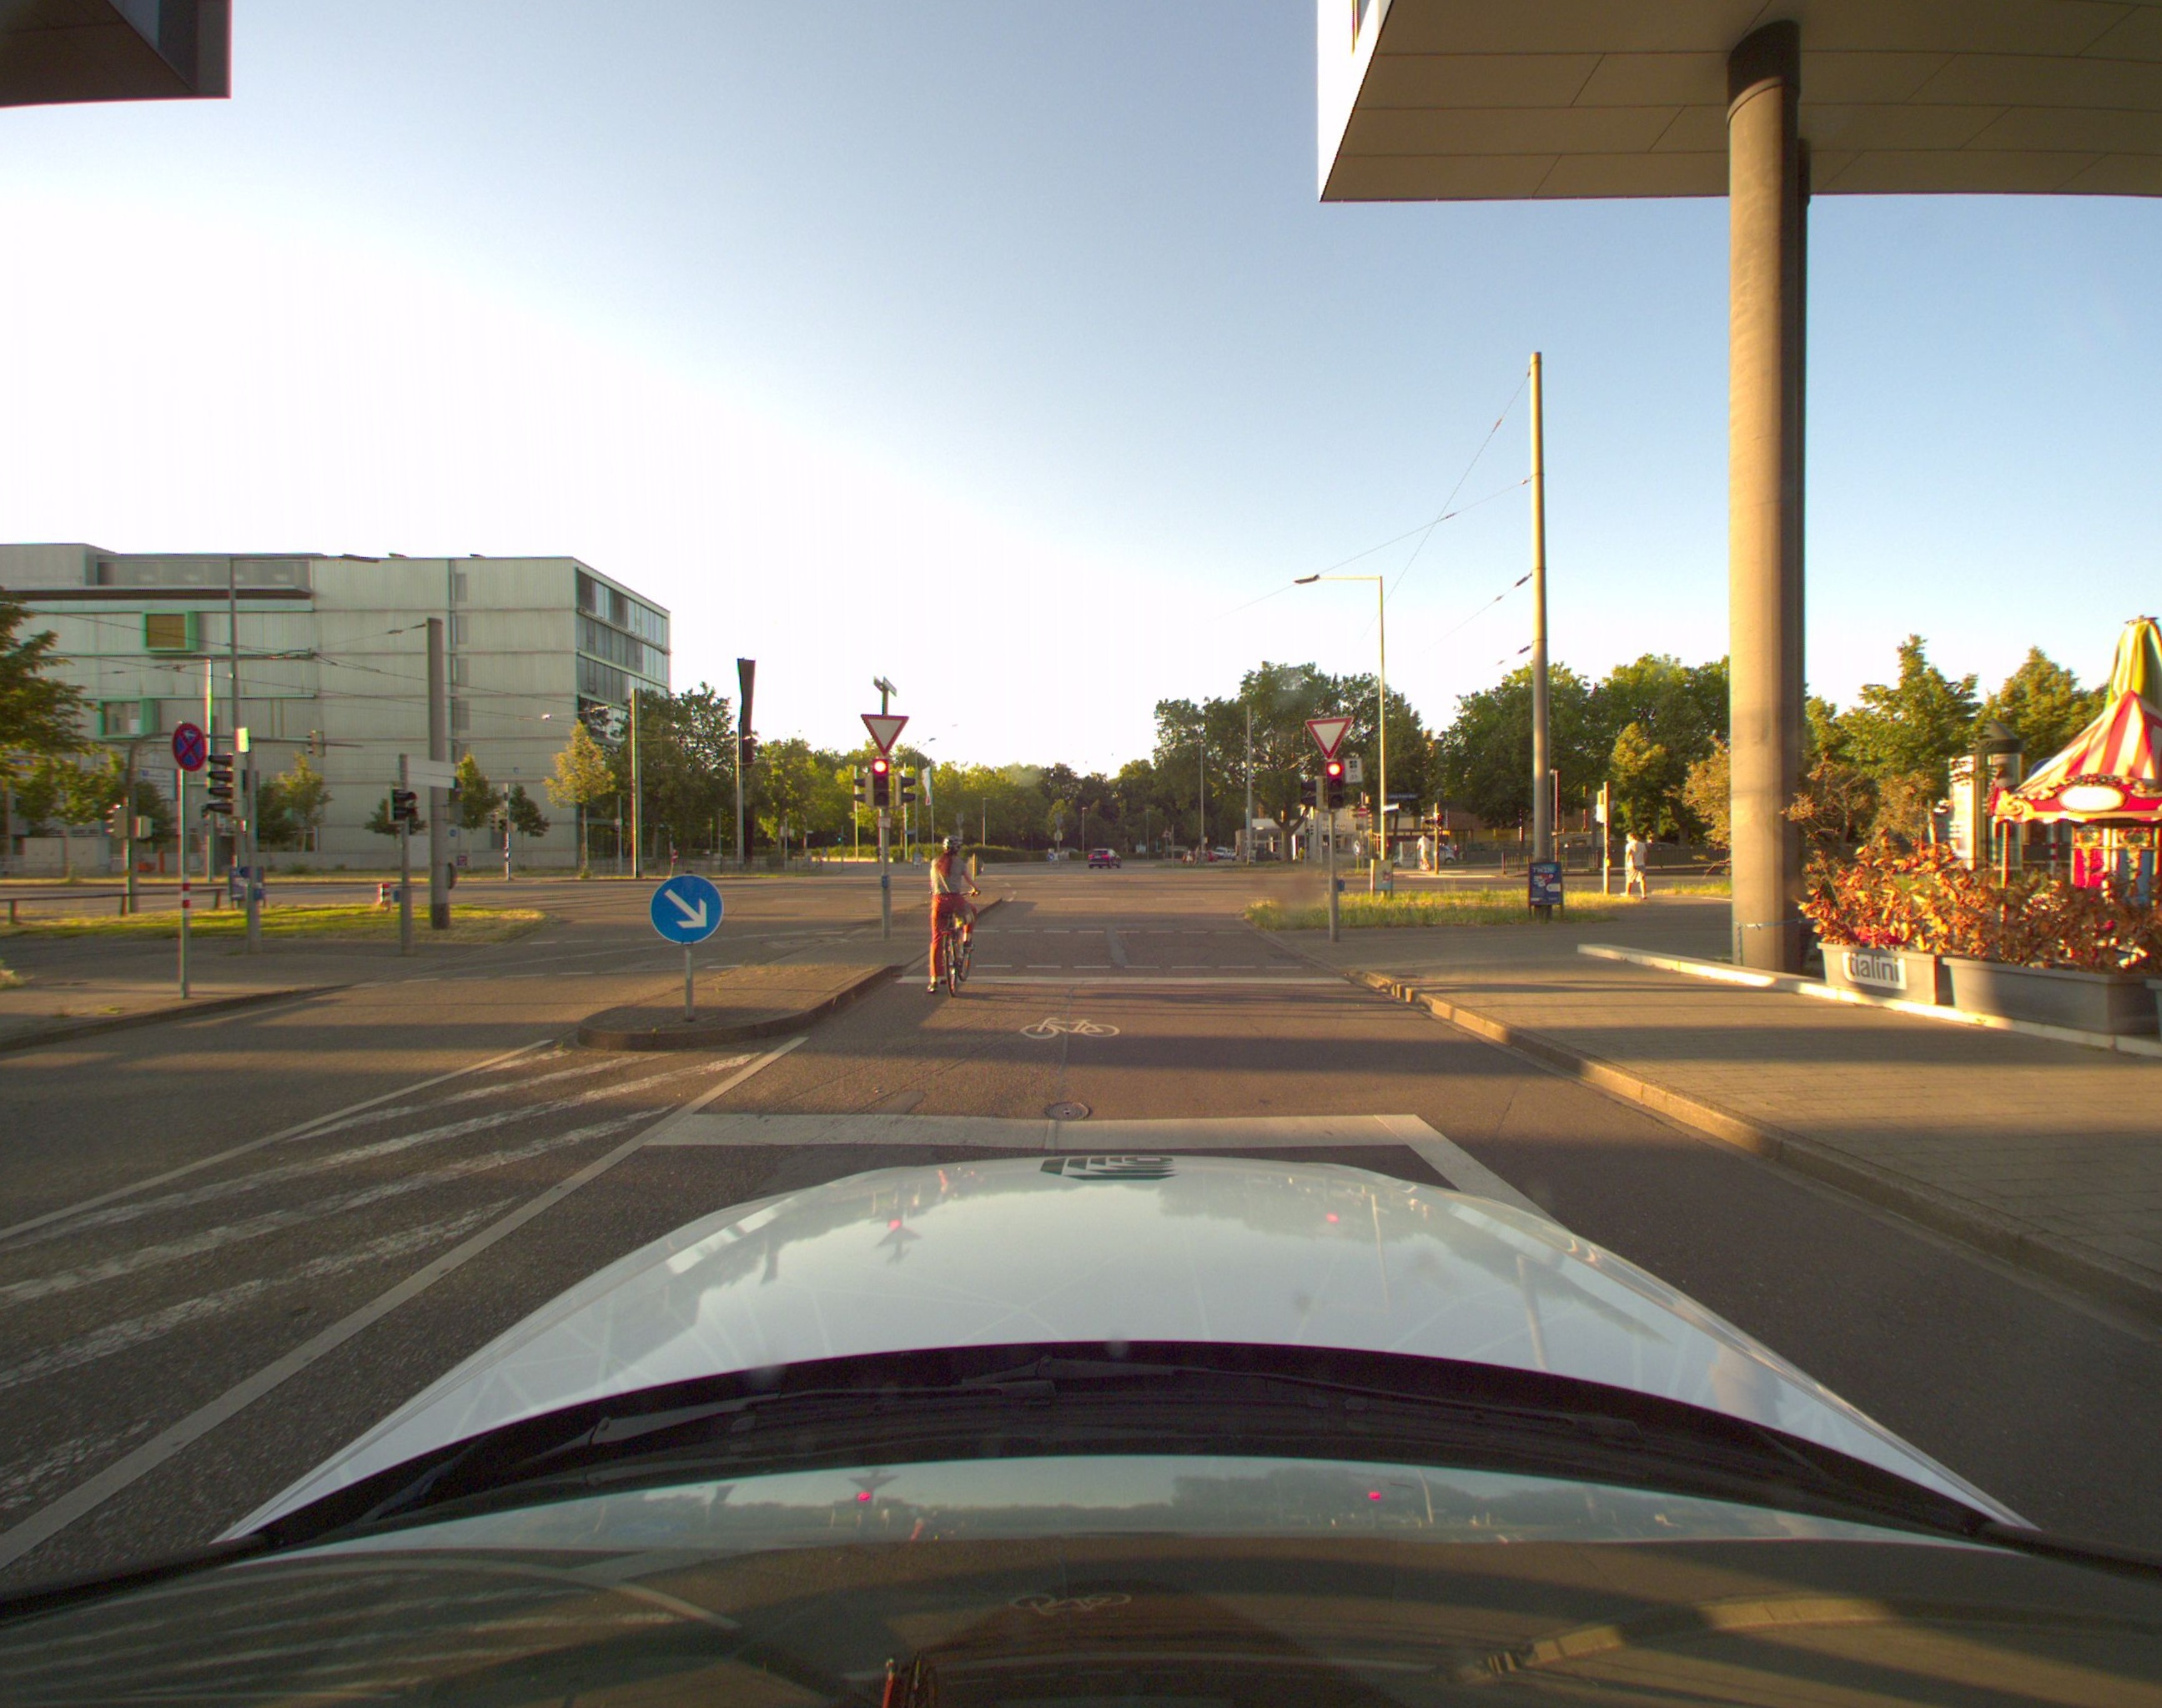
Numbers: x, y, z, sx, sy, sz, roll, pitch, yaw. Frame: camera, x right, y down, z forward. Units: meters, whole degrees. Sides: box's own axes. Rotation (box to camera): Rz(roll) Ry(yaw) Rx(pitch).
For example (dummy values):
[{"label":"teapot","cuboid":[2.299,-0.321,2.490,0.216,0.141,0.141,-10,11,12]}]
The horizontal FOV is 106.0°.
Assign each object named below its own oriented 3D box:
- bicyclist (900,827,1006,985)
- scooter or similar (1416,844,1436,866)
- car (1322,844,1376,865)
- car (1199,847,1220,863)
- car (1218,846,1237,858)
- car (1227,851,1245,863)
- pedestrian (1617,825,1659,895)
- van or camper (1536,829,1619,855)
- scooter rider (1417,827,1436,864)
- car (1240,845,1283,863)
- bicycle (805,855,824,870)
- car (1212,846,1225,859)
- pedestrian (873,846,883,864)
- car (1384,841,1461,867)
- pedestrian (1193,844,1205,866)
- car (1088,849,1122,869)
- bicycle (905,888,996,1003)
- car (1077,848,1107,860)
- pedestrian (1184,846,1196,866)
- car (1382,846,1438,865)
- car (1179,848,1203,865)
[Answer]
[{"label":"bicyclist","cuboid":[-1.452,0.570,9.425,1.028,1.717,0.996,-1,0,1]},{"label":"scooter or similar","cuboid":[17.200,0.061,40.642,0.508,1.090,1.243,-1,0,2]},{"label":"car","cuboid":[23.669,0.040,72.106,4.211,1.846,2.002,-1,0,4]},{"label":"car","cuboid":[16.267,0.093,103.125,1.899,2.047,4.020,0,0,20]},{"label":"car","cuboid":[24.420,-0.301,135.416,1.975,2.013,4.024,-1,0,27]},{"label":"car","cuboid":[21.926,0.390,115.109,1.899,1.602,4.020,0,0,20]},{"label":"pedestrian","cuboid":[14.549,0.155,21.292,0.754,1.791,0.807,-1,0,25]},{"label":"van or camper","cuboid":[47.948,-1.150,78.731,6.530,2.410,2.268,-1,0,6]},{"label":"scooter rider","cuboid":[17.253,-0.416,40.679,0.699,1.855,0.669,0,-1,1]},{"label":"car","cuboid":[19.595,0.012,88.684,4.354,1.835,1.952,-1,0,6]},{"label":"bicycle","cuboid":[-20.739,0.664,63.342,0.697,1.136,2.392,-1,0,-1]},{"label":"car","cuboid":[22.092,-0.321,130.874,1.982,2.013,4.010,-1,0,9]},{"label":"pedestrian","cuboid":[-19.821,0.111,79.550,0.898,1.754,0.715,-1,0,-24]},{"label":"car","cuboid":[23.664,-0.019,56.520,4.523,1.728,1.860,-1,0,-3]},{"label":"pedestrian","cuboid":[9.767,0.087,67.448,0.712,1.754,0.903,-1,0,26]},{"label":"car","cuboid":[2.022,0.414,66.455,1.742,1.541,4.418,-1,-1,15]},{"label":"bicycle","cuboid":[-1.445,0.982,9.410,0.632,1.068,2.123,-1,0,2]},{"label":"car","cuboid":[1.499,-0.005,109.692,3.970,1.561,2.002,-1,0,3]},{"label":"pedestrian","cuboid":[9.126,0.189,68.067,0.712,1.639,0.903,-1,0,26]},{"label":"car","cuboid":[28.997,0.124,71.910,4.211,1.577,2.002,-1,0,4]},{"label":"car","cuboid":[12.934,0.268,95.585,1.852,1.874,3.896,0,0,23]}]
